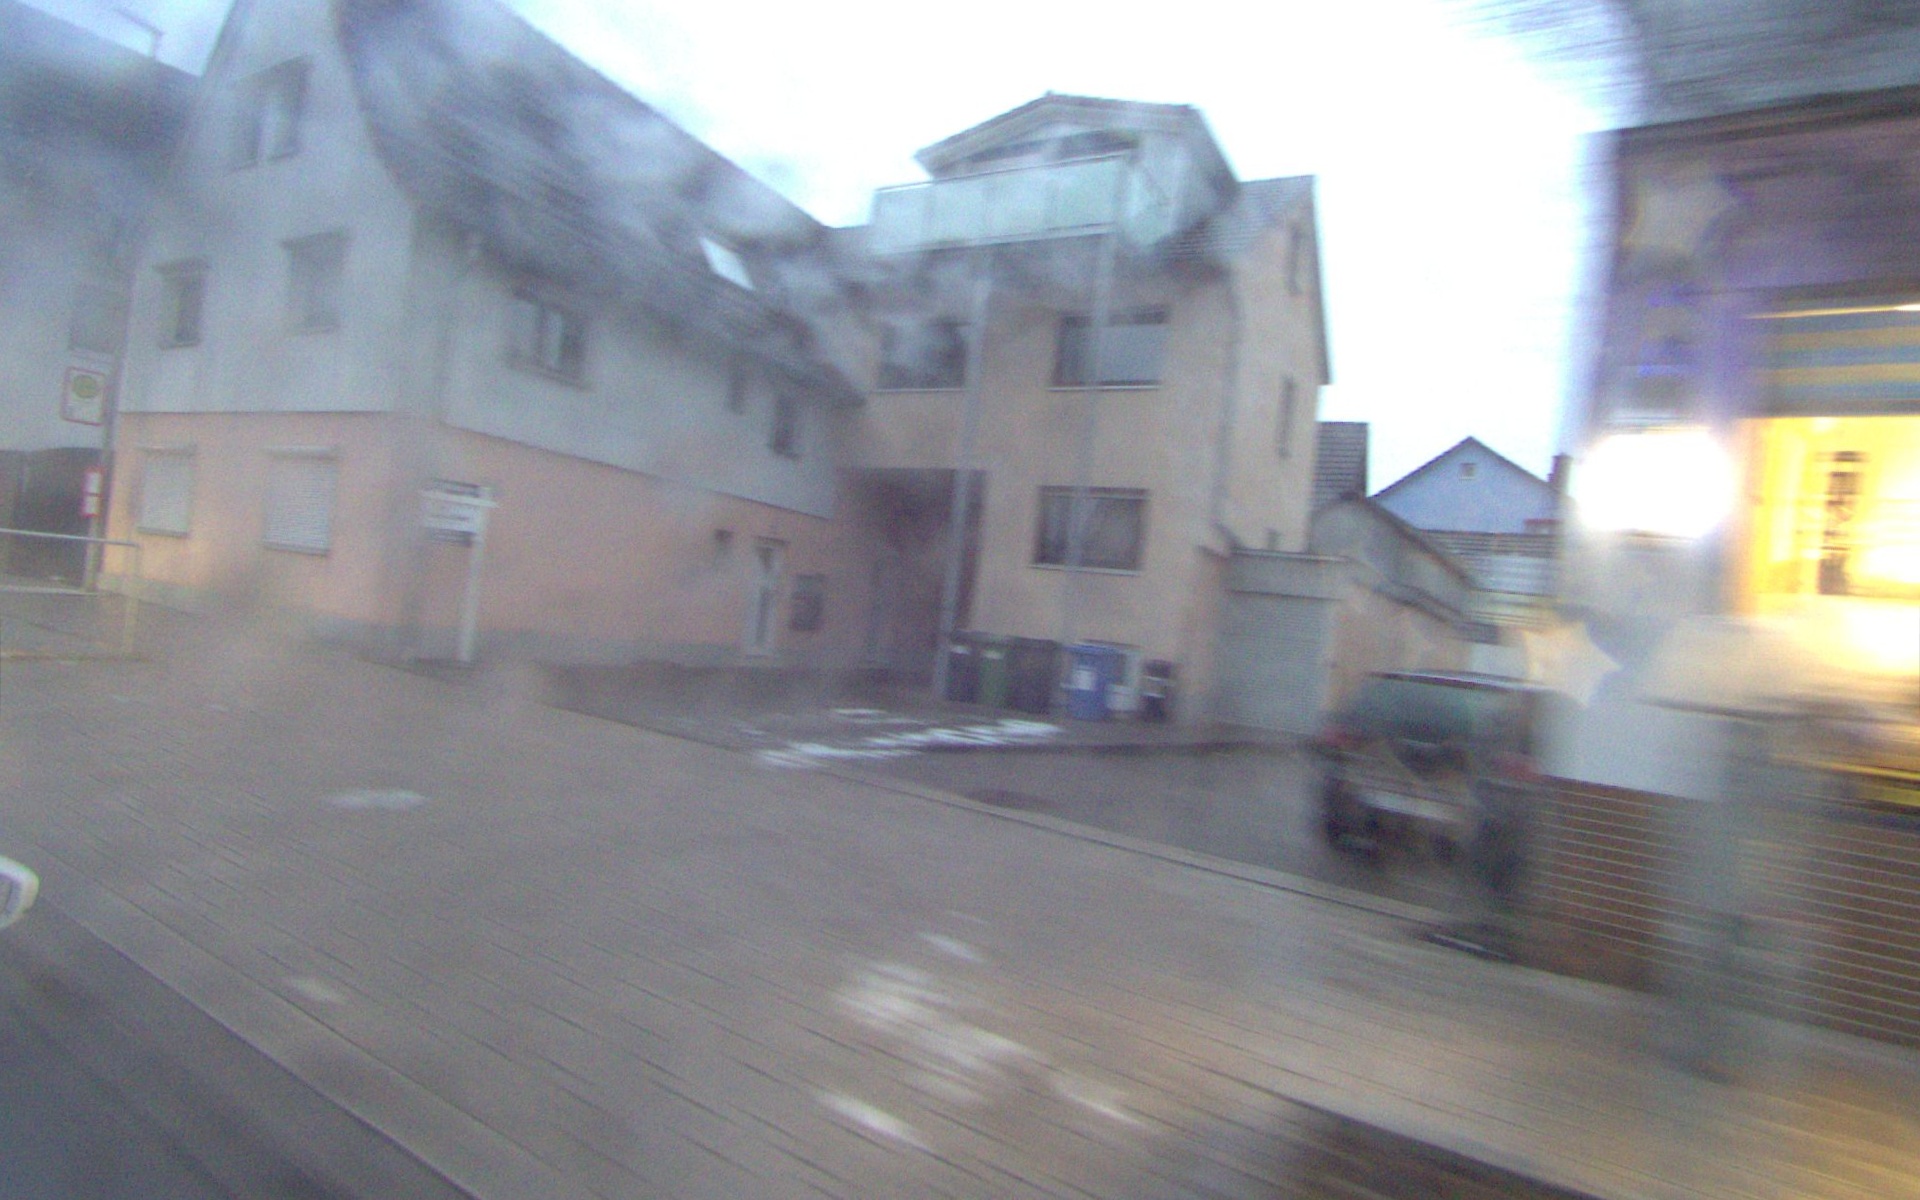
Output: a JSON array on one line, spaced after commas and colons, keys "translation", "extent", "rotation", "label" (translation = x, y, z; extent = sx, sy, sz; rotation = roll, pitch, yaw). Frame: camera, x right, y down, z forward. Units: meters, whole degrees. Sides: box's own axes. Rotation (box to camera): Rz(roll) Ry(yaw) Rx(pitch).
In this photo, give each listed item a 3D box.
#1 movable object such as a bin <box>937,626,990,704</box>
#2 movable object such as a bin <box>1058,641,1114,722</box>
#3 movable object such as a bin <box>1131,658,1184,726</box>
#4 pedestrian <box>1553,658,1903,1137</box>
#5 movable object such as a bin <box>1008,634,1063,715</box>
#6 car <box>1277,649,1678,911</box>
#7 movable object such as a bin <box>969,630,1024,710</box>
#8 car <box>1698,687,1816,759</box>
[{"translation": [0.049, 0.983, 15.215], "extent": [0.576, 1.090, 0.372], "rotation": [6, -2, 30], "label": "movable object such as a bin"}, {"translation": [1.779, 1.158, 14.245], "extent": [0.576, 1.059, 0.372], "rotation": [6, -2, 30], "label": "movable object such as a bin"}, {"translation": [2.919, 1.363, 14.866], "extent": [0.576, 0.917, 0.372], "rotation": [6, -2, 30], "label": "movable object such as a bin"}, {"translation": [2.850, 1.039, 3.827], "extent": [0.720, 1.534, 0.620], "rotation": [8, 0, 17], "label": "pedestrian"}, {"translation": [1.092, 1.072, 14.505], "extent": [0.576, 1.090, 0.372], "rotation": [6, -2, 30], "label": "movable object such as a bin"}, {"translation": [4.379, 1.356, 8.230], "extent": [3.865, 1.444, 1.660], "rotation": [8, 0, -44], "label": "car"}, {"translation": [0.543, 1.031, 14.805], "extent": [0.576, 1.090, 0.372], "rotation": [6, -2, 30], "label": "movable object such as a bin"}, {"translation": [22.004, 3.409, 27.716], "extent": [3.755, 1.589, 1.851], "rotation": [8, 0, -42], "label": "car"}]
